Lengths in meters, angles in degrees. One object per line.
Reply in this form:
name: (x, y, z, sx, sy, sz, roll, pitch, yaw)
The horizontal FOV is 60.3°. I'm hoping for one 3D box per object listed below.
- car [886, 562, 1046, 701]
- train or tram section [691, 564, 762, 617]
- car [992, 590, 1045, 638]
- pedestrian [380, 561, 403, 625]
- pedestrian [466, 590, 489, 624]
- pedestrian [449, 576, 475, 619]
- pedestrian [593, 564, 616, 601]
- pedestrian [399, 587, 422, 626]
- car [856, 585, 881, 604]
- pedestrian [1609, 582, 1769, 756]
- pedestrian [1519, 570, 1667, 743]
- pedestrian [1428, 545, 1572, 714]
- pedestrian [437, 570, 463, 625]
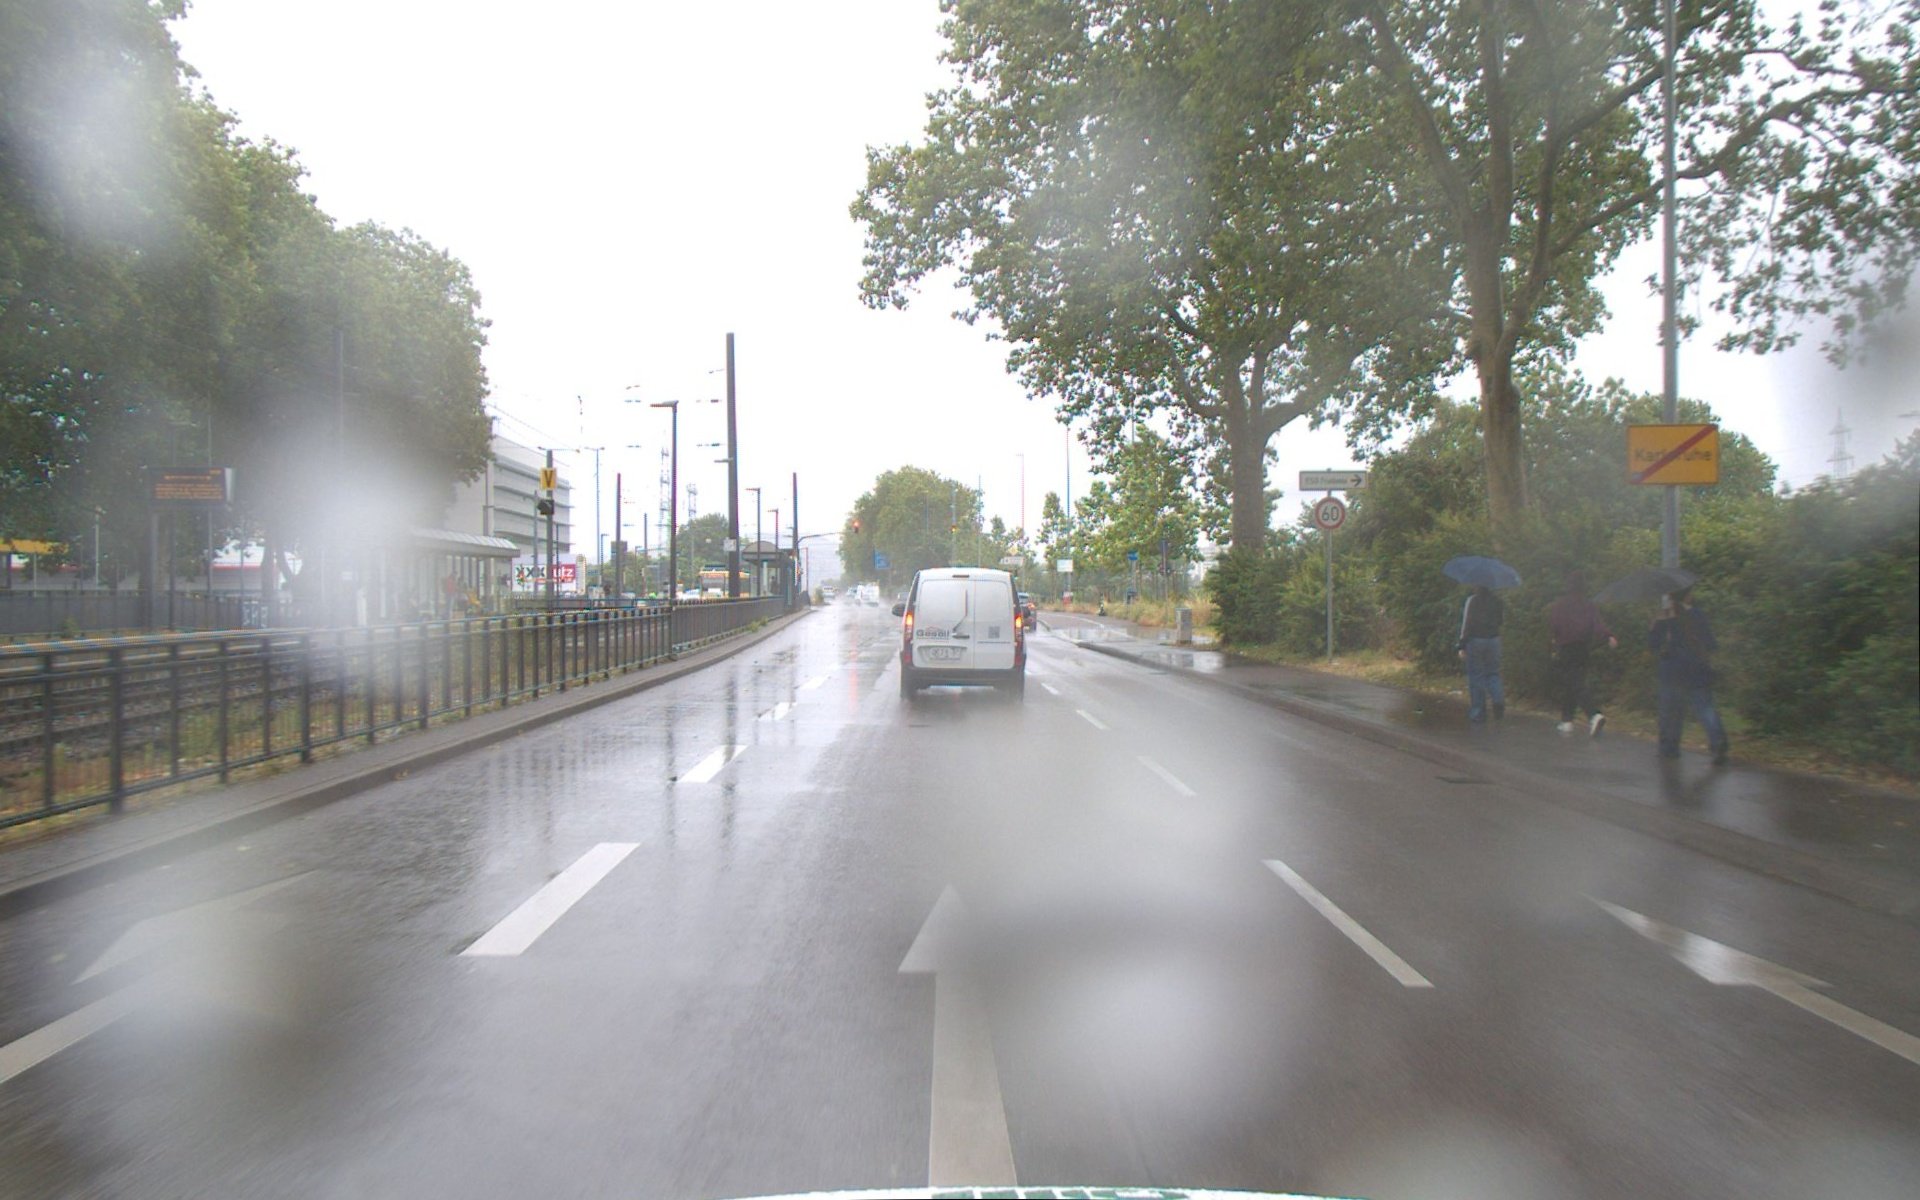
car: (-0.012, 0.416, 24.032, 1.985, 1.806, 4.271, 1, 0, -4)
train or tram section: (-19.763, -0.750, 142.125, 3.695, 4.107, 27.074, 1, 0, -3)
car: (2.291, 0.551, 65.214, 1.952, 1.780, 4.000, 1, 0, 1)
pedestrian: (-18.270, -0.221, 53.152, 0.483, 2.049, 0.582, 1, 0, -1)
pedestrian: (-19.076, 0.293, 65.430, 0.629, 1.326, 0.815, 1, 0, 2)
pedestrian: (-18.961, -0.103, 62.929, 0.815, 1.589, 0.667, 1, 0, -28)
pedestrian: (-20.453, -1.003, 95.099, 1.066, 2.049, 1.096, 1, 0, -3)
pedestrian: (-18.463, 0.204, 55.571, 0.483, 1.290, 0.664, 1, 0, 2)
car: (-8.706, -0.524, 157.103, 1.956, 1.780, 3.993, 1, 0, -8)
pedestrian: (6.252, 0.573, 14.235, 0.874, 1.414, 1.016, -2, 0, -1)
pedestrian: (6.223, 0.536, 16.336, 0.927, 1.617, 1.293, -1, 0, -1)
pedestrian: (6.003, 0.318, 18.457, 1.215, 1.817, 1.147, 0, 0, -1)
pedestrian: (-18.418, -0.093, 59.778, 0.608, 1.967, 0.815, 1, 0, 2)
